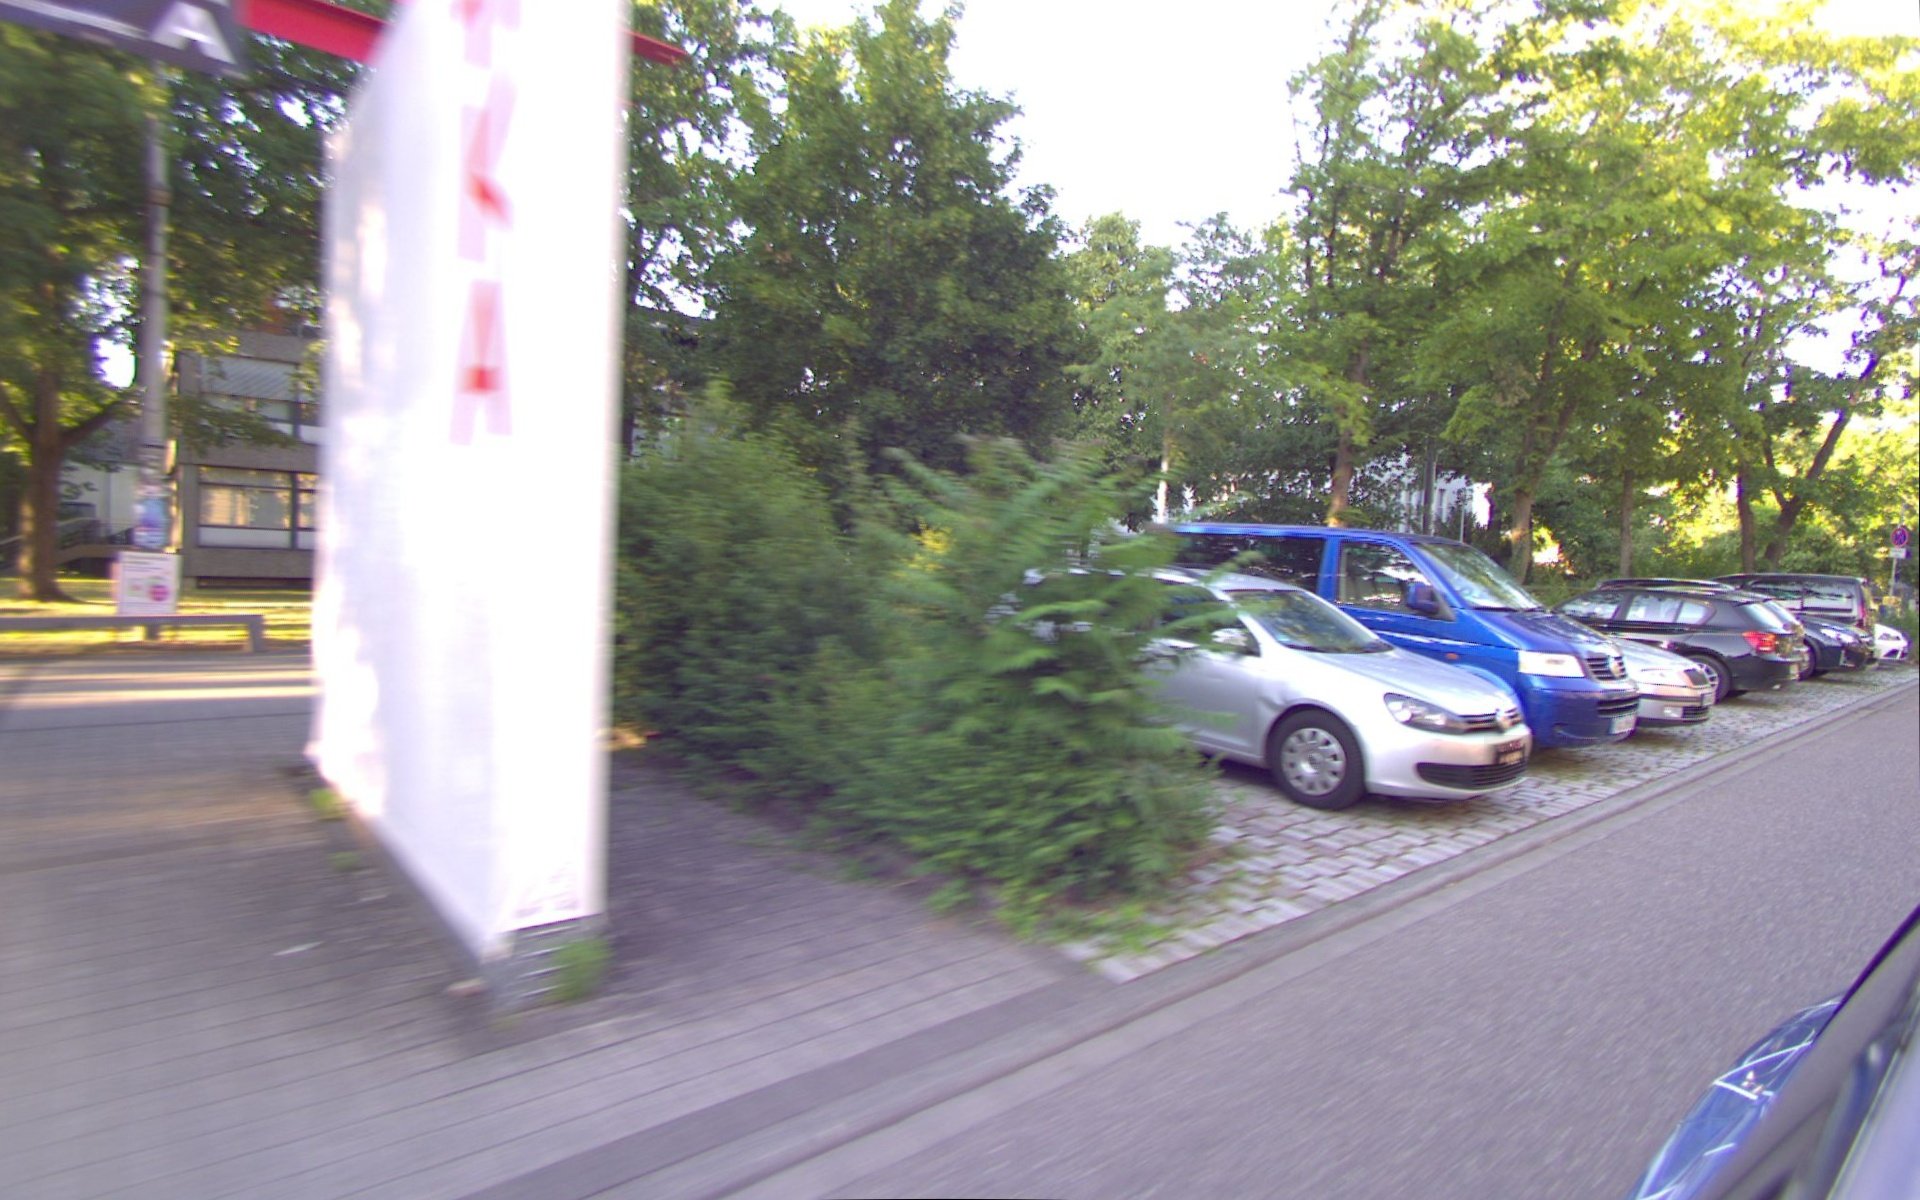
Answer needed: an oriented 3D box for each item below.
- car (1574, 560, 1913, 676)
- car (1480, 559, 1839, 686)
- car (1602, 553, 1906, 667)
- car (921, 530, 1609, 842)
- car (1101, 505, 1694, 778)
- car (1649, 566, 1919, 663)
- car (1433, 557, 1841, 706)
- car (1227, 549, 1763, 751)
[{"bbox_3d":[13.657,0.204,17.874,1.843,1.572,4.374,0,5,-41],"label":"car"},{"bbox_3d":[11.112,0.245,16.352,1.887,1.555,4.374,0,5,-41],"label":"car"},{"bbox_3d":[15.543,0.090,20.015,1.887,1.801,4.374,0,5,-41],"label":"car"},{"bbox_3d":[1.983,0.341,8.036,1.882,1.572,4.939,0,5,-41],"label":"car"},{"bbox_3d":[3.864,0.129,9.805,1.882,1.938,4.864,0,5,-41],"label":"car"},{"bbox_3d":[17.360,0.217,21.283,1.697,1.572,4.374,0,5,-41],"label":"car"},{"bbox_3d":[9.344,0.307,14.289,1.887,1.555,4.374,0,5,-41],"label":"car"},{"bbox_3d":[5.689,0.346,11.415,1.882,1.572,4.939,0,5,-41],"label":"car"}]
